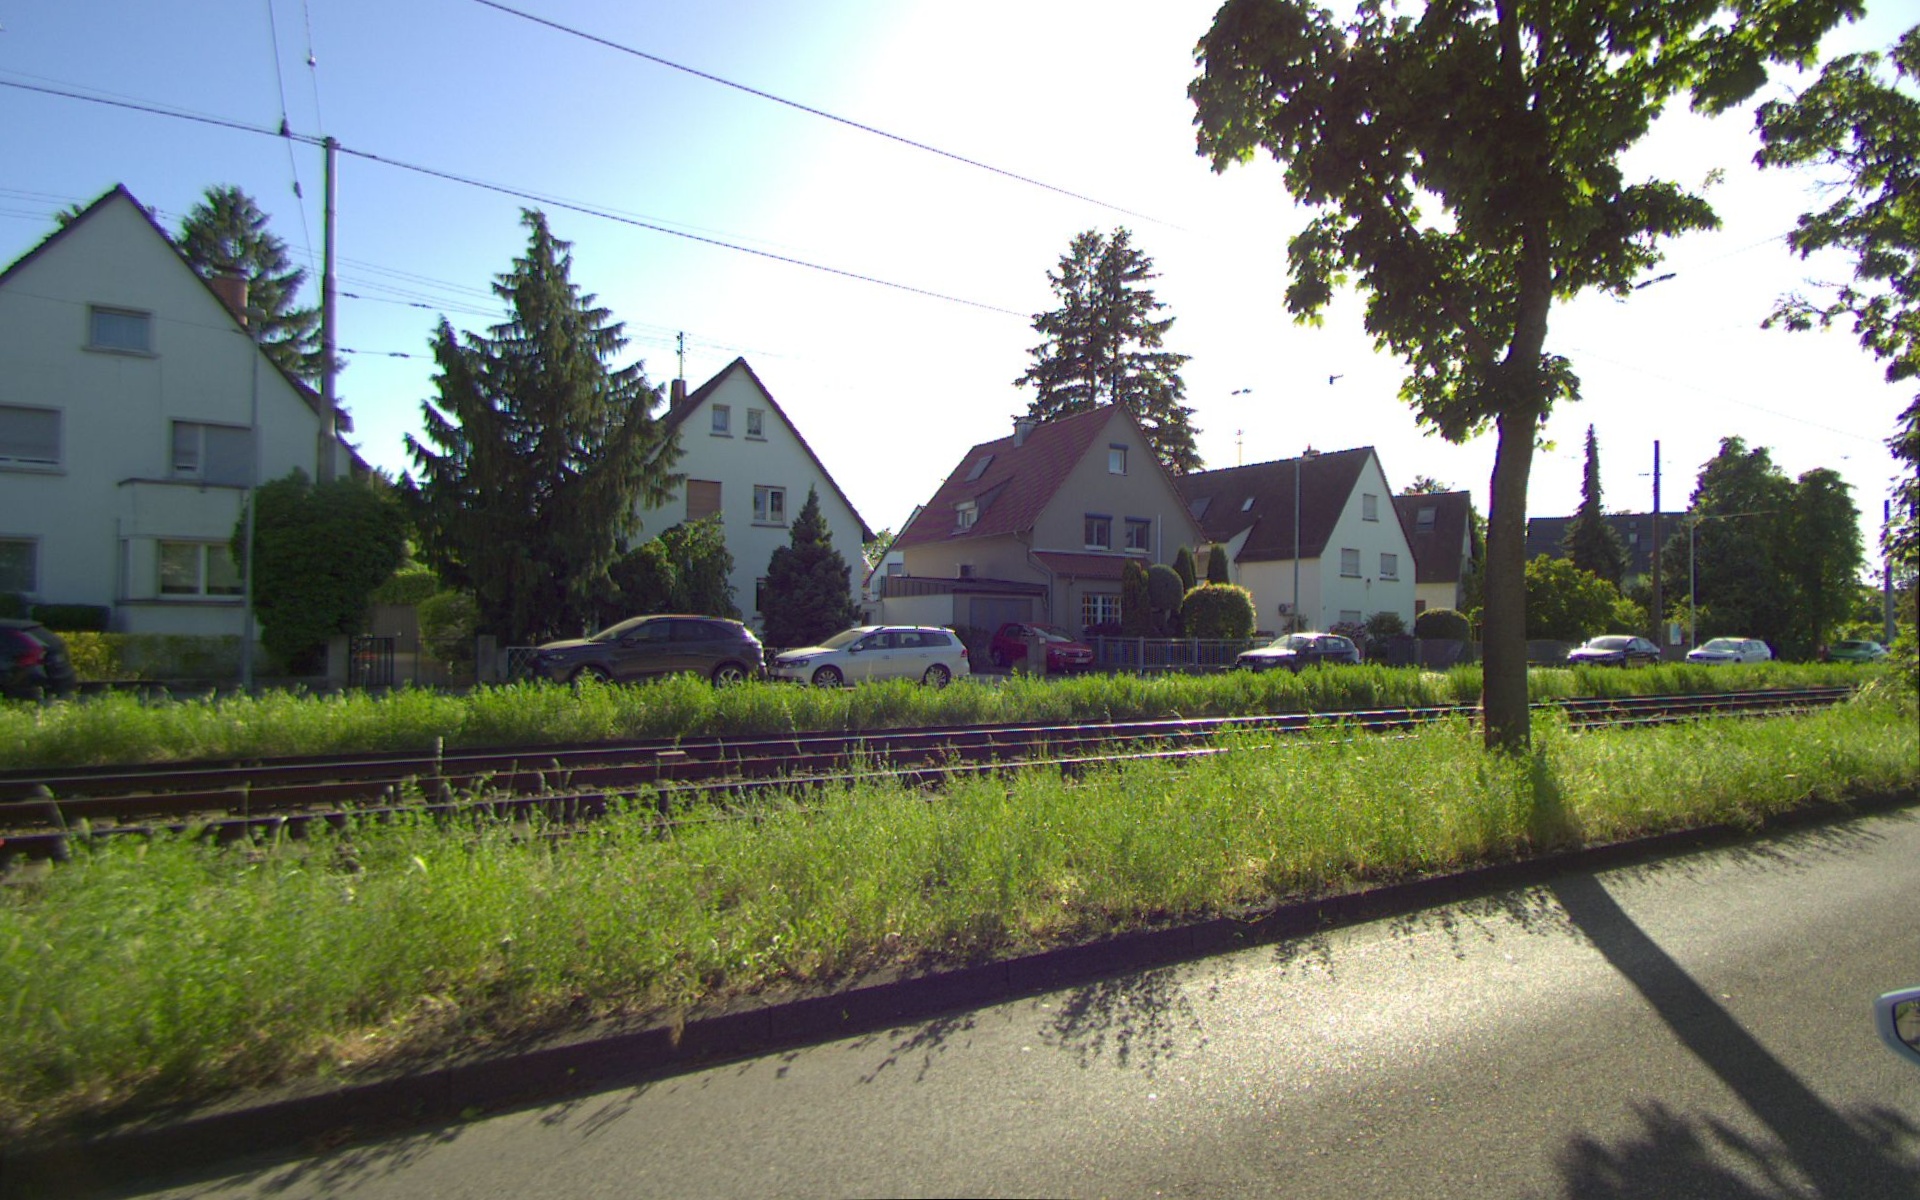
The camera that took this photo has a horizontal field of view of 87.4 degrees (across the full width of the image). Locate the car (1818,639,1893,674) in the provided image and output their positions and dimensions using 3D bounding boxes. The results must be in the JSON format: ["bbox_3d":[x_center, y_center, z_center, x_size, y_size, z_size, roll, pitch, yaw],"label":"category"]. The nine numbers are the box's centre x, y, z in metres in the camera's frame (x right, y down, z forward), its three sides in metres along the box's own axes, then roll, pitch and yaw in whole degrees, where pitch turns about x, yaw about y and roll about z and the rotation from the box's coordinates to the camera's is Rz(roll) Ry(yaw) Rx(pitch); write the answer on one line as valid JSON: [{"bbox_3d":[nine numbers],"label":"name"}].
[{"bbox_3d":[46.560,2.923,52.205,4.180,1.730,1.769,2,-1,-31],"label":"car"}]

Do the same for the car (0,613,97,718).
[{"bbox_3d":[-15.595,0.914,14.437,4.550,1.485,1.720,2,-1,-31],"label":"car"}]

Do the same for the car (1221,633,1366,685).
[{"bbox_3d":[10.010,1.757,30.119,4.180,1.388,1.850,2,-1,-31],"label":"car"}]

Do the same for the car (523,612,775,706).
[{"bbox_3d":[-6.152,1.139,20.029,4.503,1.672,1.739,2,-1,-31],"label":"car"}]

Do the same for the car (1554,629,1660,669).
[{"bbox_3d":[25.423,1.923,39.444,4.111,1.432,1.850,2,-1,-31],"label":"car"}]

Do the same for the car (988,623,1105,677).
[{"bbox_3d":[2.695,1.535,32.210,1.866,1.472,3.899,0,1,-30],"label":"car"}]

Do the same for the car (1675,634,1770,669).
[{"bbox_3d":[33.749,2.267,44.417,4.411,1.450,1.850,2,-1,-31],"label":"car"}]

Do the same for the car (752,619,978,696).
[{"bbox_3d":[-2.126,1.283,22.894,4.724,1.566,1.984,2,-1,-30],"label":"car"}]
